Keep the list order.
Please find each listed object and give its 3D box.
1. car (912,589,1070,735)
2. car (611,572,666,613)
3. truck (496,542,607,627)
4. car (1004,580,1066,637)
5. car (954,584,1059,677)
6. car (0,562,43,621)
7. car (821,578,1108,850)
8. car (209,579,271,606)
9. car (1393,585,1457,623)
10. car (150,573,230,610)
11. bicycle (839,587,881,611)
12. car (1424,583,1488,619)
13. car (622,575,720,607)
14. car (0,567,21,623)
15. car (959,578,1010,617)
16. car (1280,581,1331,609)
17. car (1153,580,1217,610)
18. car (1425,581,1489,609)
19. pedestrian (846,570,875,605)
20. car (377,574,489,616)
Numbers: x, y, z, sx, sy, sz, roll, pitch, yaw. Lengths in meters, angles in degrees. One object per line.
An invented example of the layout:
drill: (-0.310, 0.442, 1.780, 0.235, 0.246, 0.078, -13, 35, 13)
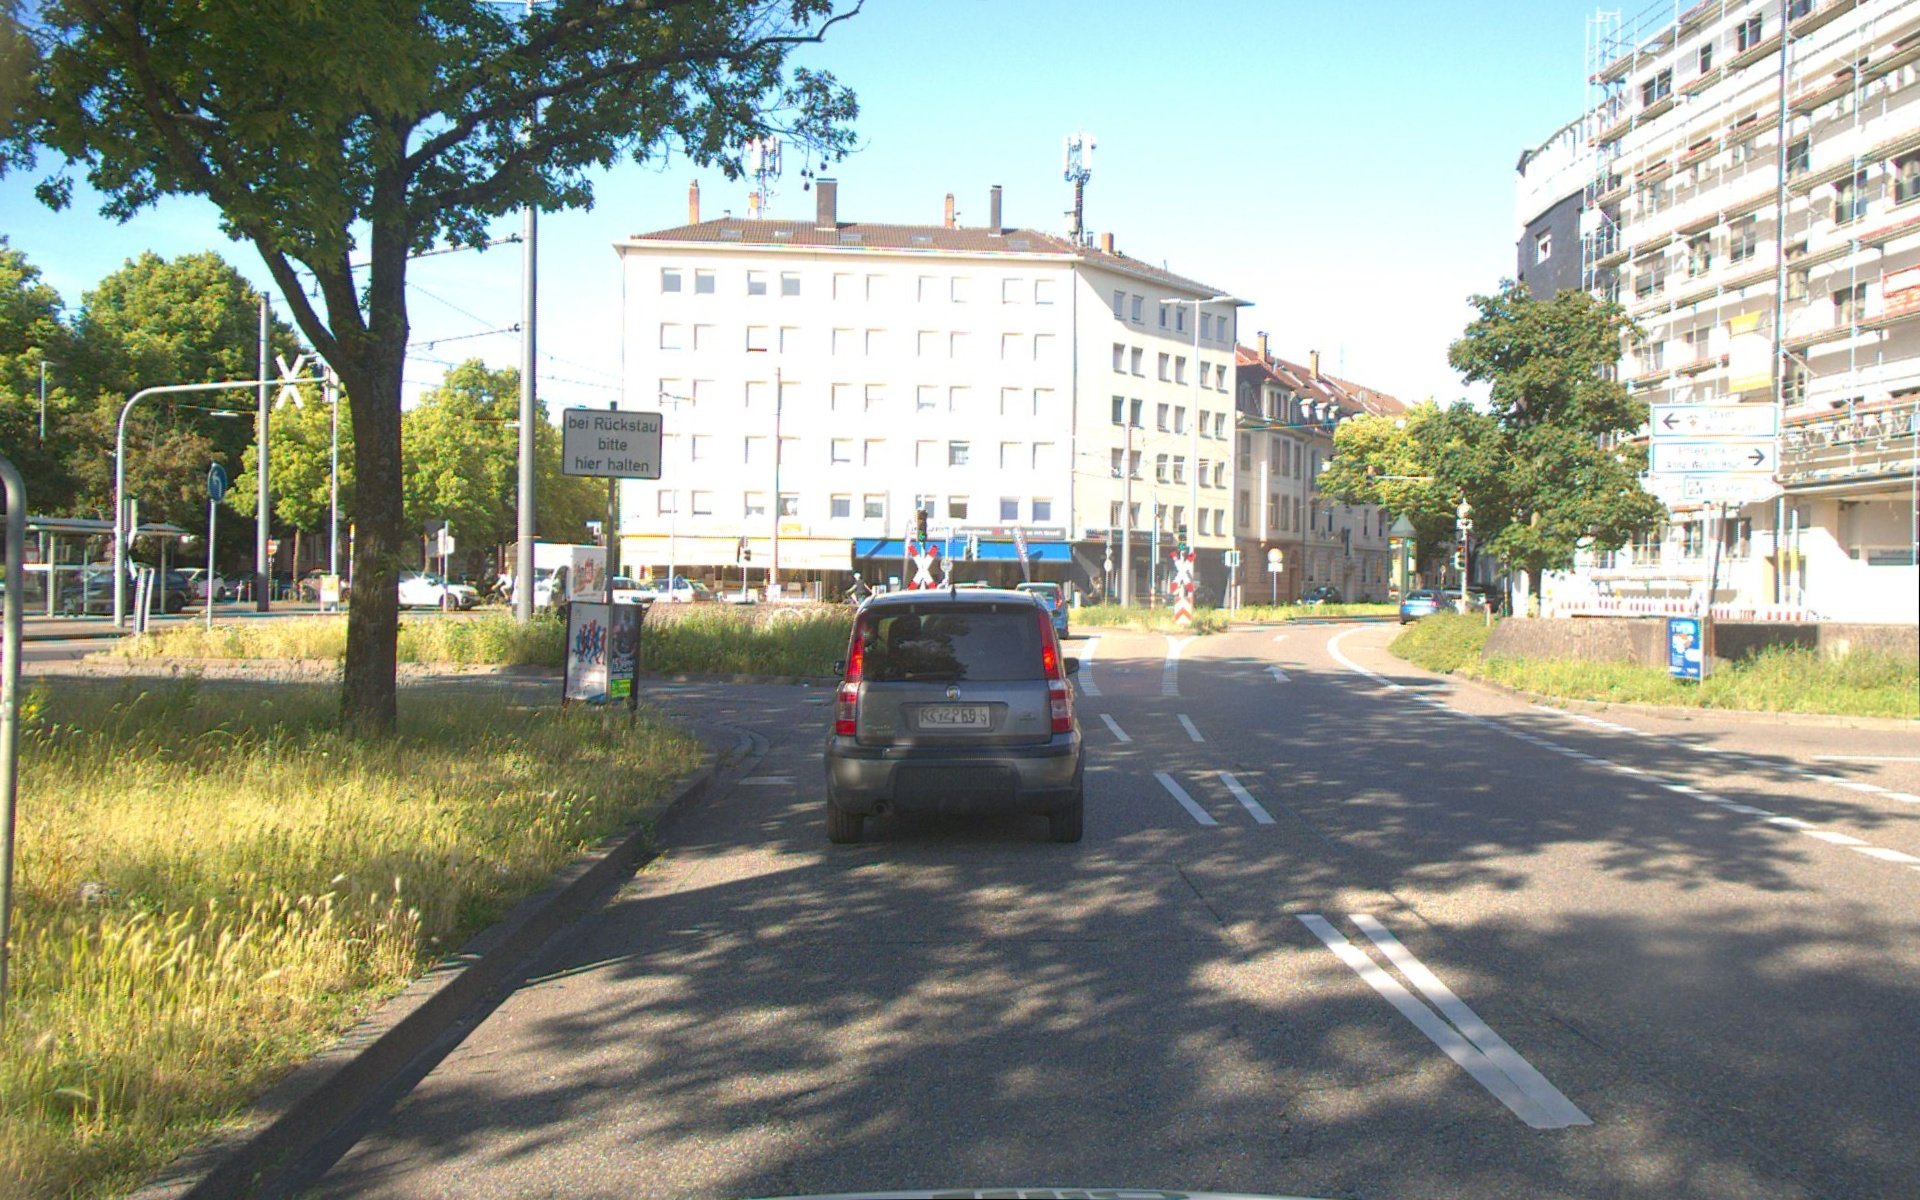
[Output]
car: (0.264, 0.628, 18.784, 1.588, 1.454, 3.687, 1, 1, -2)
car: (-11.958, -0.298, 61.706, 1.631, 1.474, 4.396, 1, 1, -7)
truck: (-12.472, -0.467, 50.762, 1.750, 2.469, 4.114, 1, 0, 11)
car: (2.040, 0.210, 44.898, 1.611, 1.463, 3.397, 1, 1, 3)
car: (0.903, 0.487, 29.780, 1.723, 1.512, 4.295, 1, 1, 4)
car: (-30.822, -0.273, 51.191, 1.724, 1.747, 3.998, 4, 3, 25)
car: (0.018, 0.636, 11.081, 1.626, 1.536, 3.251, 1, 1, 0)
car: (-36.034, -0.384, 82.831, 1.562, 1.316, 3.702, 0, 1, -2)
car: (19.458, 0.144, 69.120, 1.742, 1.467, 3.611, 2, 1, 30)
car: (-35.941, -0.408, 77.314, 1.724, 1.645, 4.227, 1, 1, 1)
bicycle: (-4.202, -0.052, 69.166, 0.779, 0.968, 1.828, 2, -1, -42)
car: (22.007, 0.011, 73.340, 1.786, 1.534, 3.991, 1, 1, 31)
car: (-12.535, -0.391, 71.695, 3.917, 1.264, 1.994, 2, 1, 34)
car: (-30.044, -0.179, 48.004, 1.839, 1.570, 4.523, 5, 3, 41)
car: (0.865, -0.084, 56.352, 1.655, 1.275, 3.627, 1, 0, 2)
car: (20.612, -0.298, 98.572, 1.758, 1.593, 3.756, 1, 1, 33)
car: (11.216, -0.250, 82.397, 1.758, 1.420, 3.715, 1, 1, 33)
car: (30.057, -0.306, 100.147, 1.873, 1.621, 3.985, 0, 1, -15)
pedestrian: (-4.142, -0.525, 69.121, 0.770, 1.452, 0.924, 2, -1, -43)
car: (-21.547, -0.196, 67.731, 3.904, 1.599, 2.001, 1, 0, 2)
